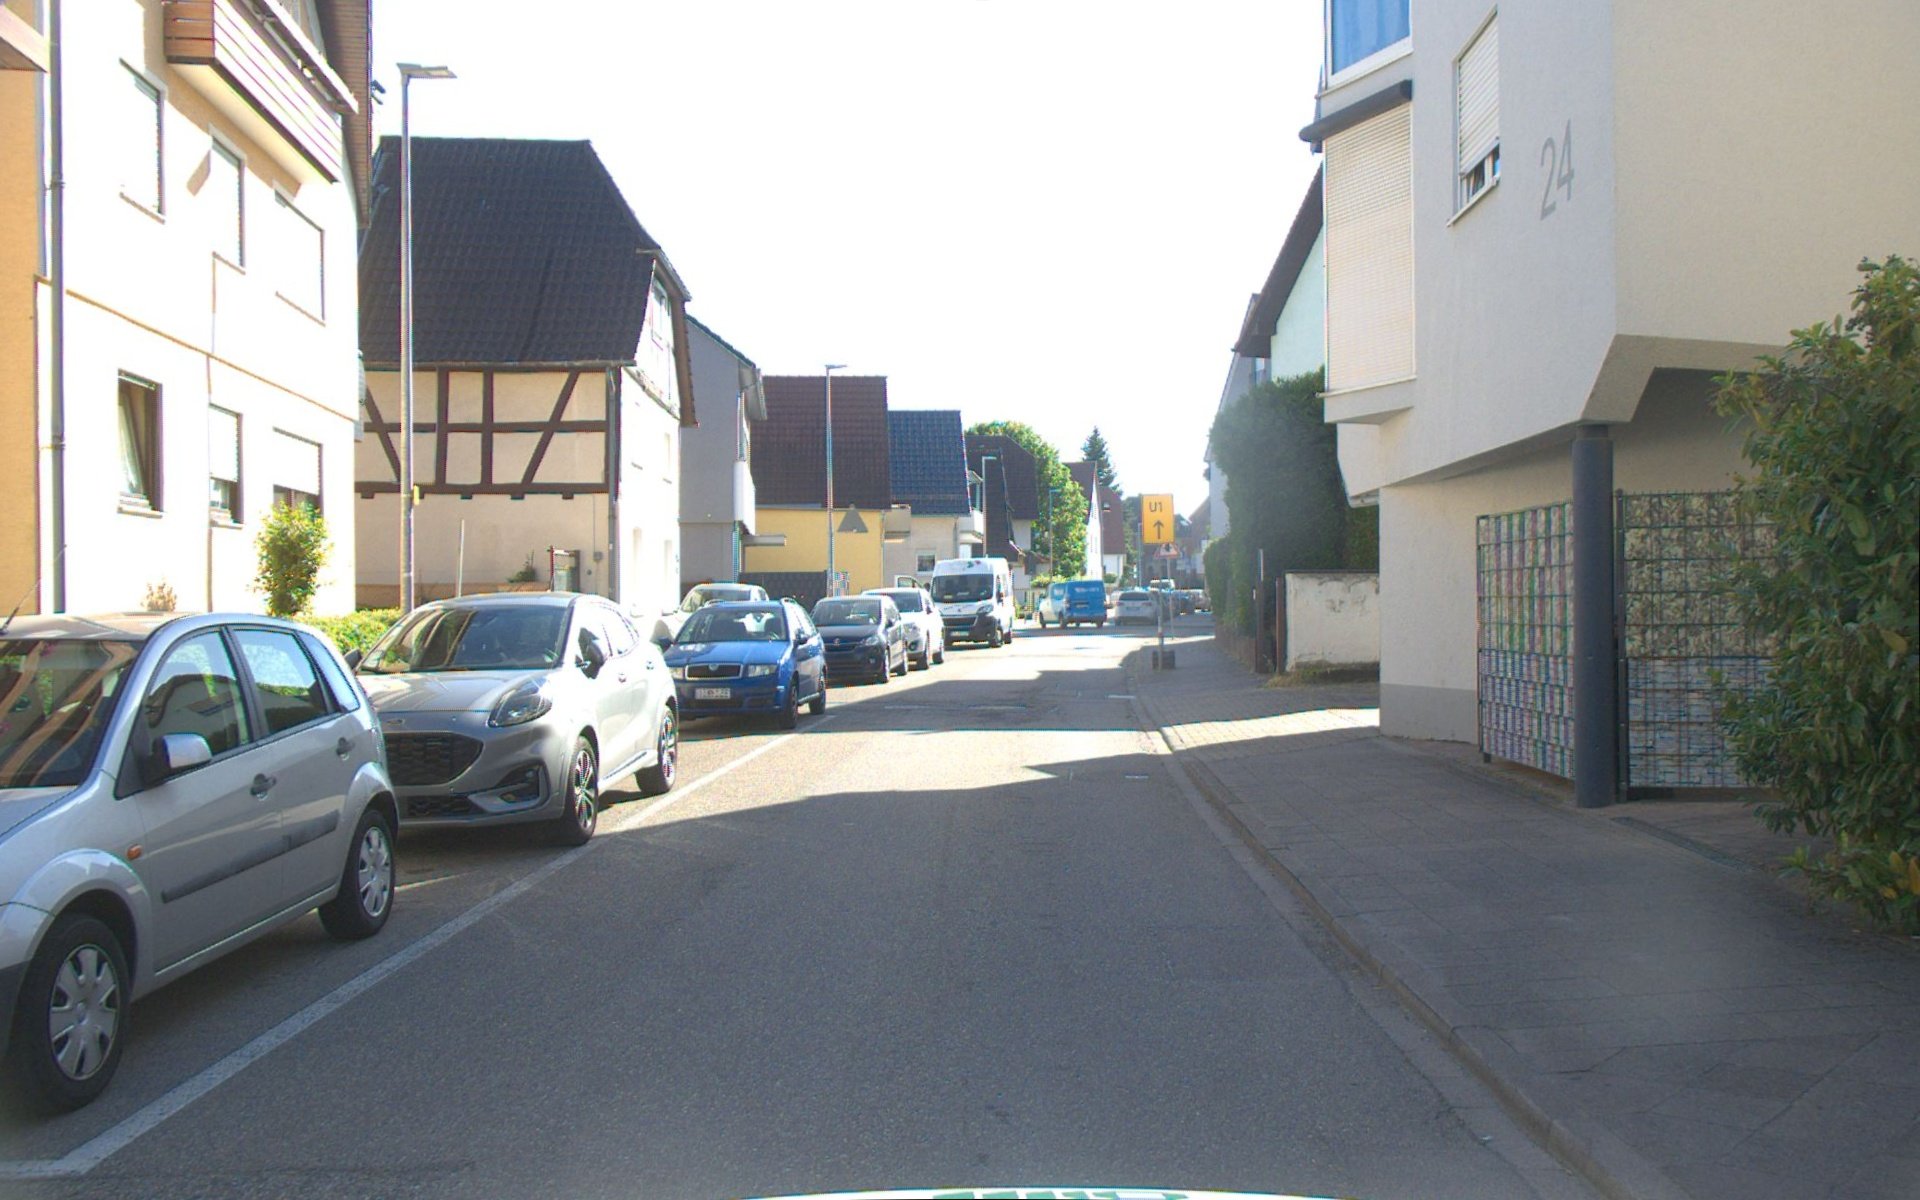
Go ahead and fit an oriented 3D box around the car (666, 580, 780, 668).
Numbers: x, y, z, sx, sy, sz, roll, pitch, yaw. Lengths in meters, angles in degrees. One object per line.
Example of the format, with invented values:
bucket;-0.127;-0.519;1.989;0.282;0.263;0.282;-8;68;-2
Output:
car;-4.787;0.440;33.847;1.686;1.624;4.017;2;1;0

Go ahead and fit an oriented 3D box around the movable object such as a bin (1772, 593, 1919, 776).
movable object such as a bin;5.860;0.547;10.941;0.590;1.148;0.583;-2;-2;-17

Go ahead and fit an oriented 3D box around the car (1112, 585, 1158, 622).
car;7.555;0.178;71.654;1.805;1.437;4.001;2;-2;4

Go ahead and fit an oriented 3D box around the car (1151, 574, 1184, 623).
car;12.229;-0.077;97.204;1.805;2.685;4.003;1;-2;8

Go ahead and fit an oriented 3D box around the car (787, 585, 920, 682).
car;-1.829;0.558;29.600;1.667;1.545;4.124;-2;0;6

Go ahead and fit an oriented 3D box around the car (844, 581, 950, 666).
car;-1.228;0.439;33.965;1.638;1.599;3.968;-2;0;5

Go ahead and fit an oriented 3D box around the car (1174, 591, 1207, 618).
car;15.170;0.316;108.660;1.889;1.598;4.003;1;-2;11

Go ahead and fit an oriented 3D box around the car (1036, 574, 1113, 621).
car;4.711;-0.125;68.573;1.887;1.833;4.765;-2;1;-12

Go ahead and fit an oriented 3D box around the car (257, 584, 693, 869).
car;-3.001;0.683;11.159;1.639;1.532;4.095;-1;0;1

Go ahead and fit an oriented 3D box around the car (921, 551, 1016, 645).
car;0.302;-0.060;46.999;2.033;2.436;5.212;-2;0;7

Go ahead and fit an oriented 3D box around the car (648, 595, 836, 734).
car;-2.529;0.705;20.025;1.605;1.466;4.076;-1;0;1

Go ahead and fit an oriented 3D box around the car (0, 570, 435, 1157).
car;-3.338;0.709;5.970;1.598;1.532;3.853;-3;0;0
